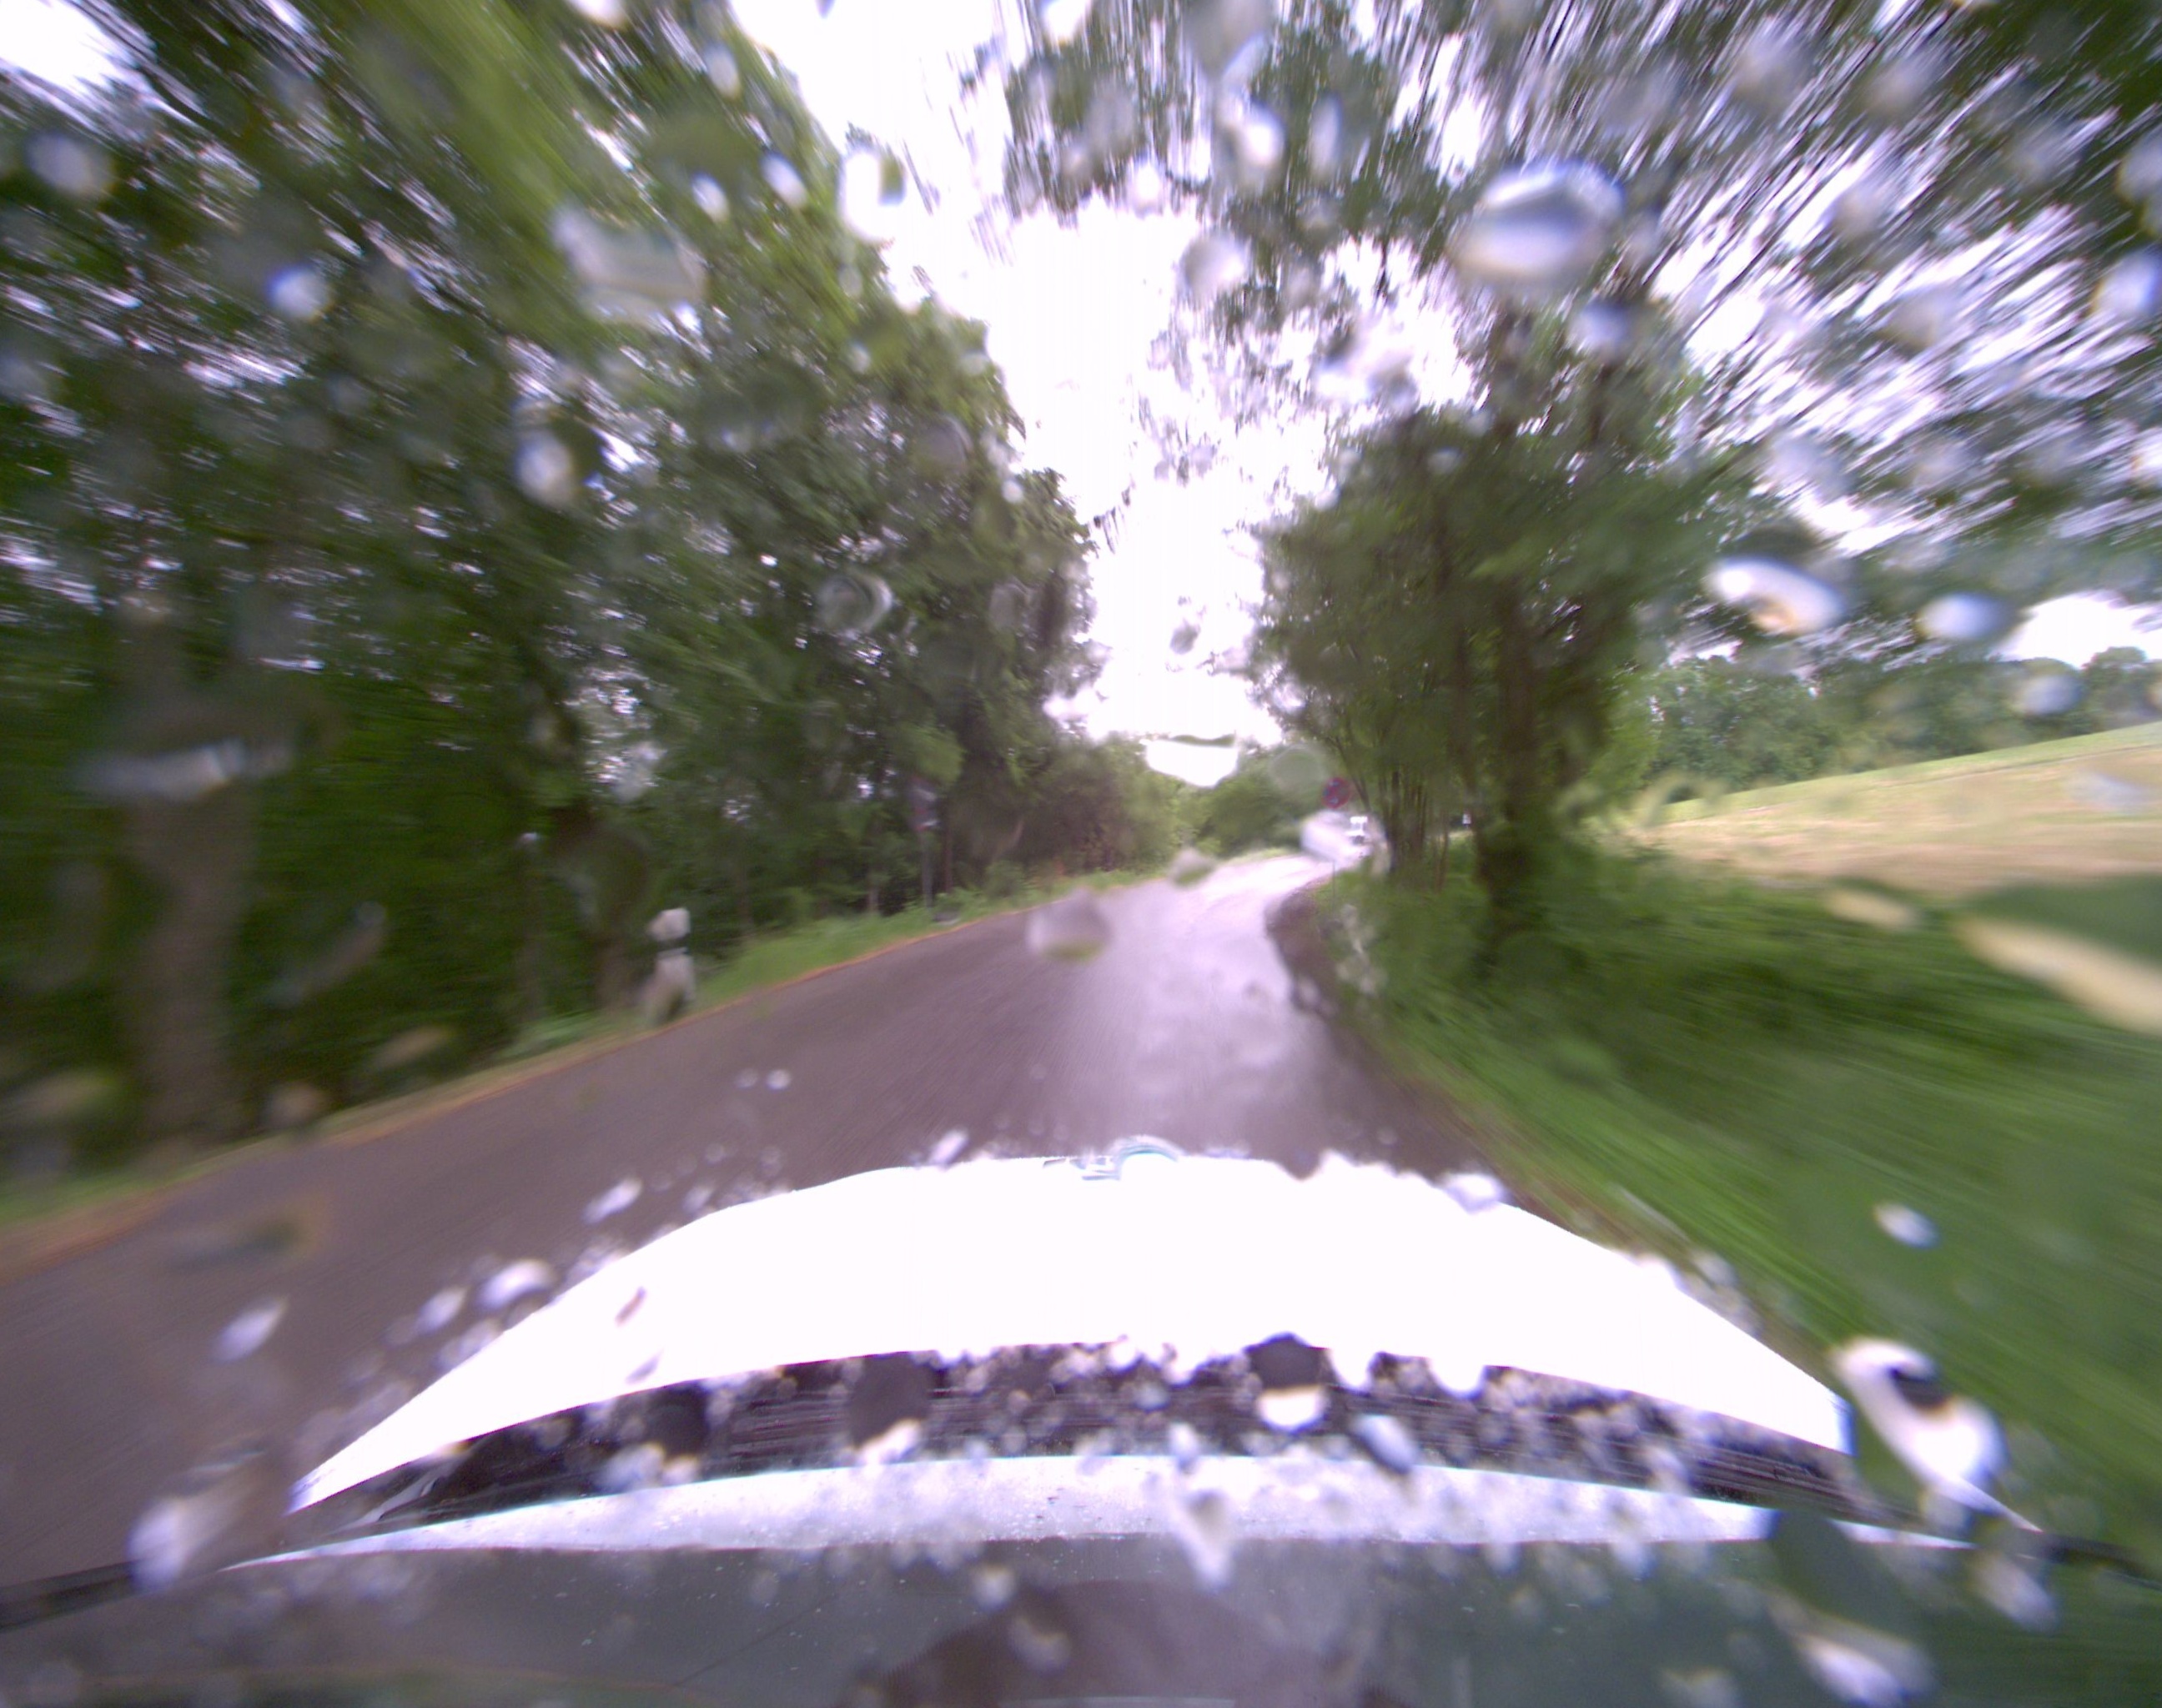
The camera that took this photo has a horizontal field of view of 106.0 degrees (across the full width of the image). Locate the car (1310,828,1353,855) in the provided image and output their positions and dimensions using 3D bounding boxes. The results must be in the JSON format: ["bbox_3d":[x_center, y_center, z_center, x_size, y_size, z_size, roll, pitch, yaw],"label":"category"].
[{"bbox_3d":[18.713,-0.946,60.697,1.843,1.595,4.525,-5,1,32],"label":"car"}]

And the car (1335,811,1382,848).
[{"bbox_3d":[23.693,-2.111,69.312,2.250,2.696,6.089,-6,1,32],"label":"car"}]
